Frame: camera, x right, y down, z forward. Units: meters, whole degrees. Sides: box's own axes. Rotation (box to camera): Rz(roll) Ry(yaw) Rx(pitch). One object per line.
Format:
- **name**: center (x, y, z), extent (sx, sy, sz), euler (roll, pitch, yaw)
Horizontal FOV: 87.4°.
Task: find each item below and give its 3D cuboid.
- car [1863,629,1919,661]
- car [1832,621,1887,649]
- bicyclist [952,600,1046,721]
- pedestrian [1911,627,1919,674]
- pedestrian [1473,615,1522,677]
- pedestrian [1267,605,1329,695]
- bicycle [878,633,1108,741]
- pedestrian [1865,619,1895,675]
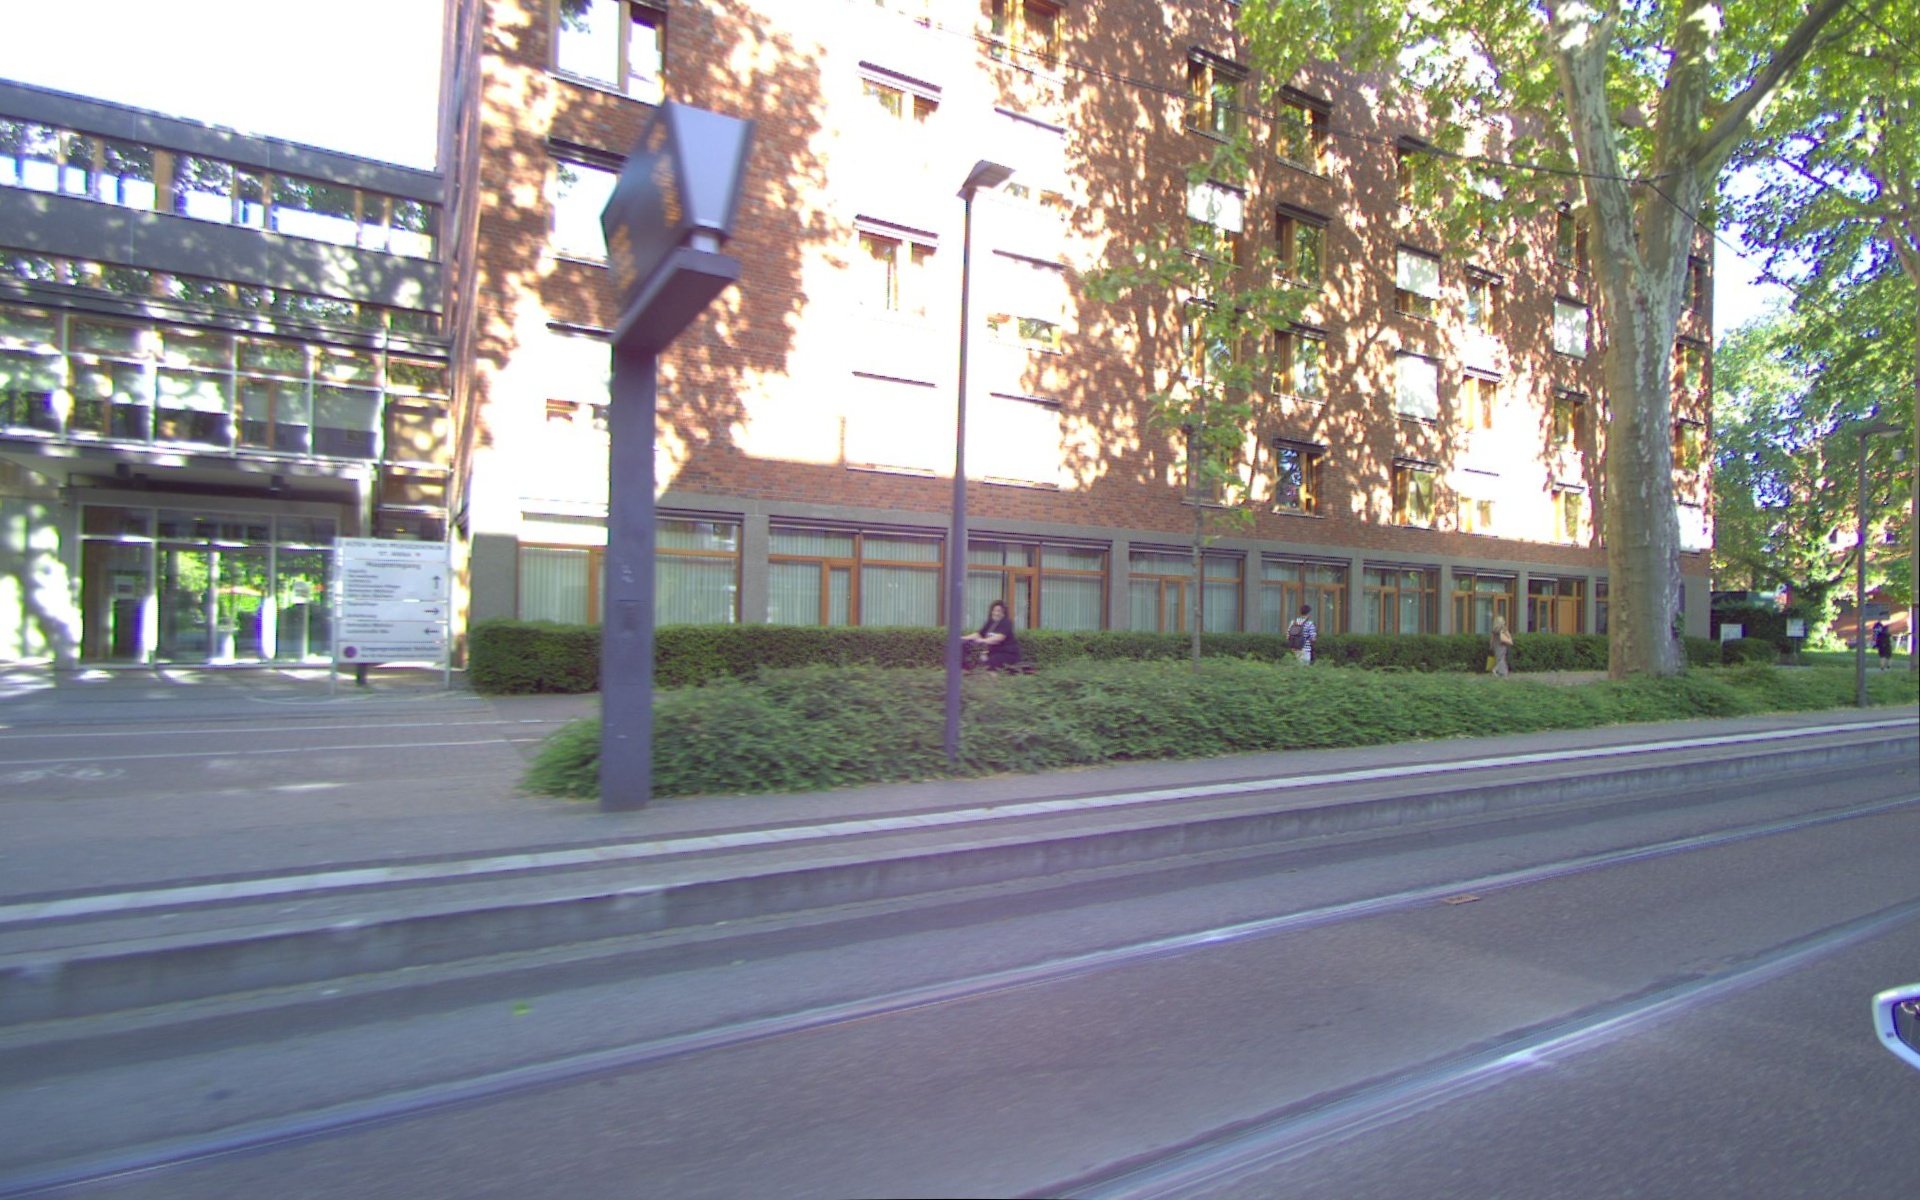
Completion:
- **car**: center (64.836, 3.102, 68.679), extent (1.976, 2.040, 4.230), euler (2, -1, -30)
- **car**: center (68.837, 2.676, 76.871), extent (3.953, 2.040, 1.984), euler (2, -1, -30)
- **bicyclist**: center (0.501, 0.768, 13.208), extent (0.828, 1.511, 0.950), euler (2, 0, -30)
- **pedestrian**: center (40.924, 2.154, 42.632), extent (0.493, 1.976, 0.668), euler (1, 1, -33)
- **pedestrian**: center (14.616, 1.237, 27.324), extent (0.935, 1.626, 0.771), euler (2, 0, -30)
- **pedestrian**: center (6.570, 0.957, 19.530), extent (0.851, 1.694, 0.732), euler (2, 0, -30)
- **bicycle**: center (0.472, 1.106, 13.191), extent (2.943, 1.256, 0.950), euler (2, 0, -31)
- **pedestrian**: center (32.722, 1.662, 35.737), extent (0.663, 1.976, 0.496), euler (2, 0, -18)
